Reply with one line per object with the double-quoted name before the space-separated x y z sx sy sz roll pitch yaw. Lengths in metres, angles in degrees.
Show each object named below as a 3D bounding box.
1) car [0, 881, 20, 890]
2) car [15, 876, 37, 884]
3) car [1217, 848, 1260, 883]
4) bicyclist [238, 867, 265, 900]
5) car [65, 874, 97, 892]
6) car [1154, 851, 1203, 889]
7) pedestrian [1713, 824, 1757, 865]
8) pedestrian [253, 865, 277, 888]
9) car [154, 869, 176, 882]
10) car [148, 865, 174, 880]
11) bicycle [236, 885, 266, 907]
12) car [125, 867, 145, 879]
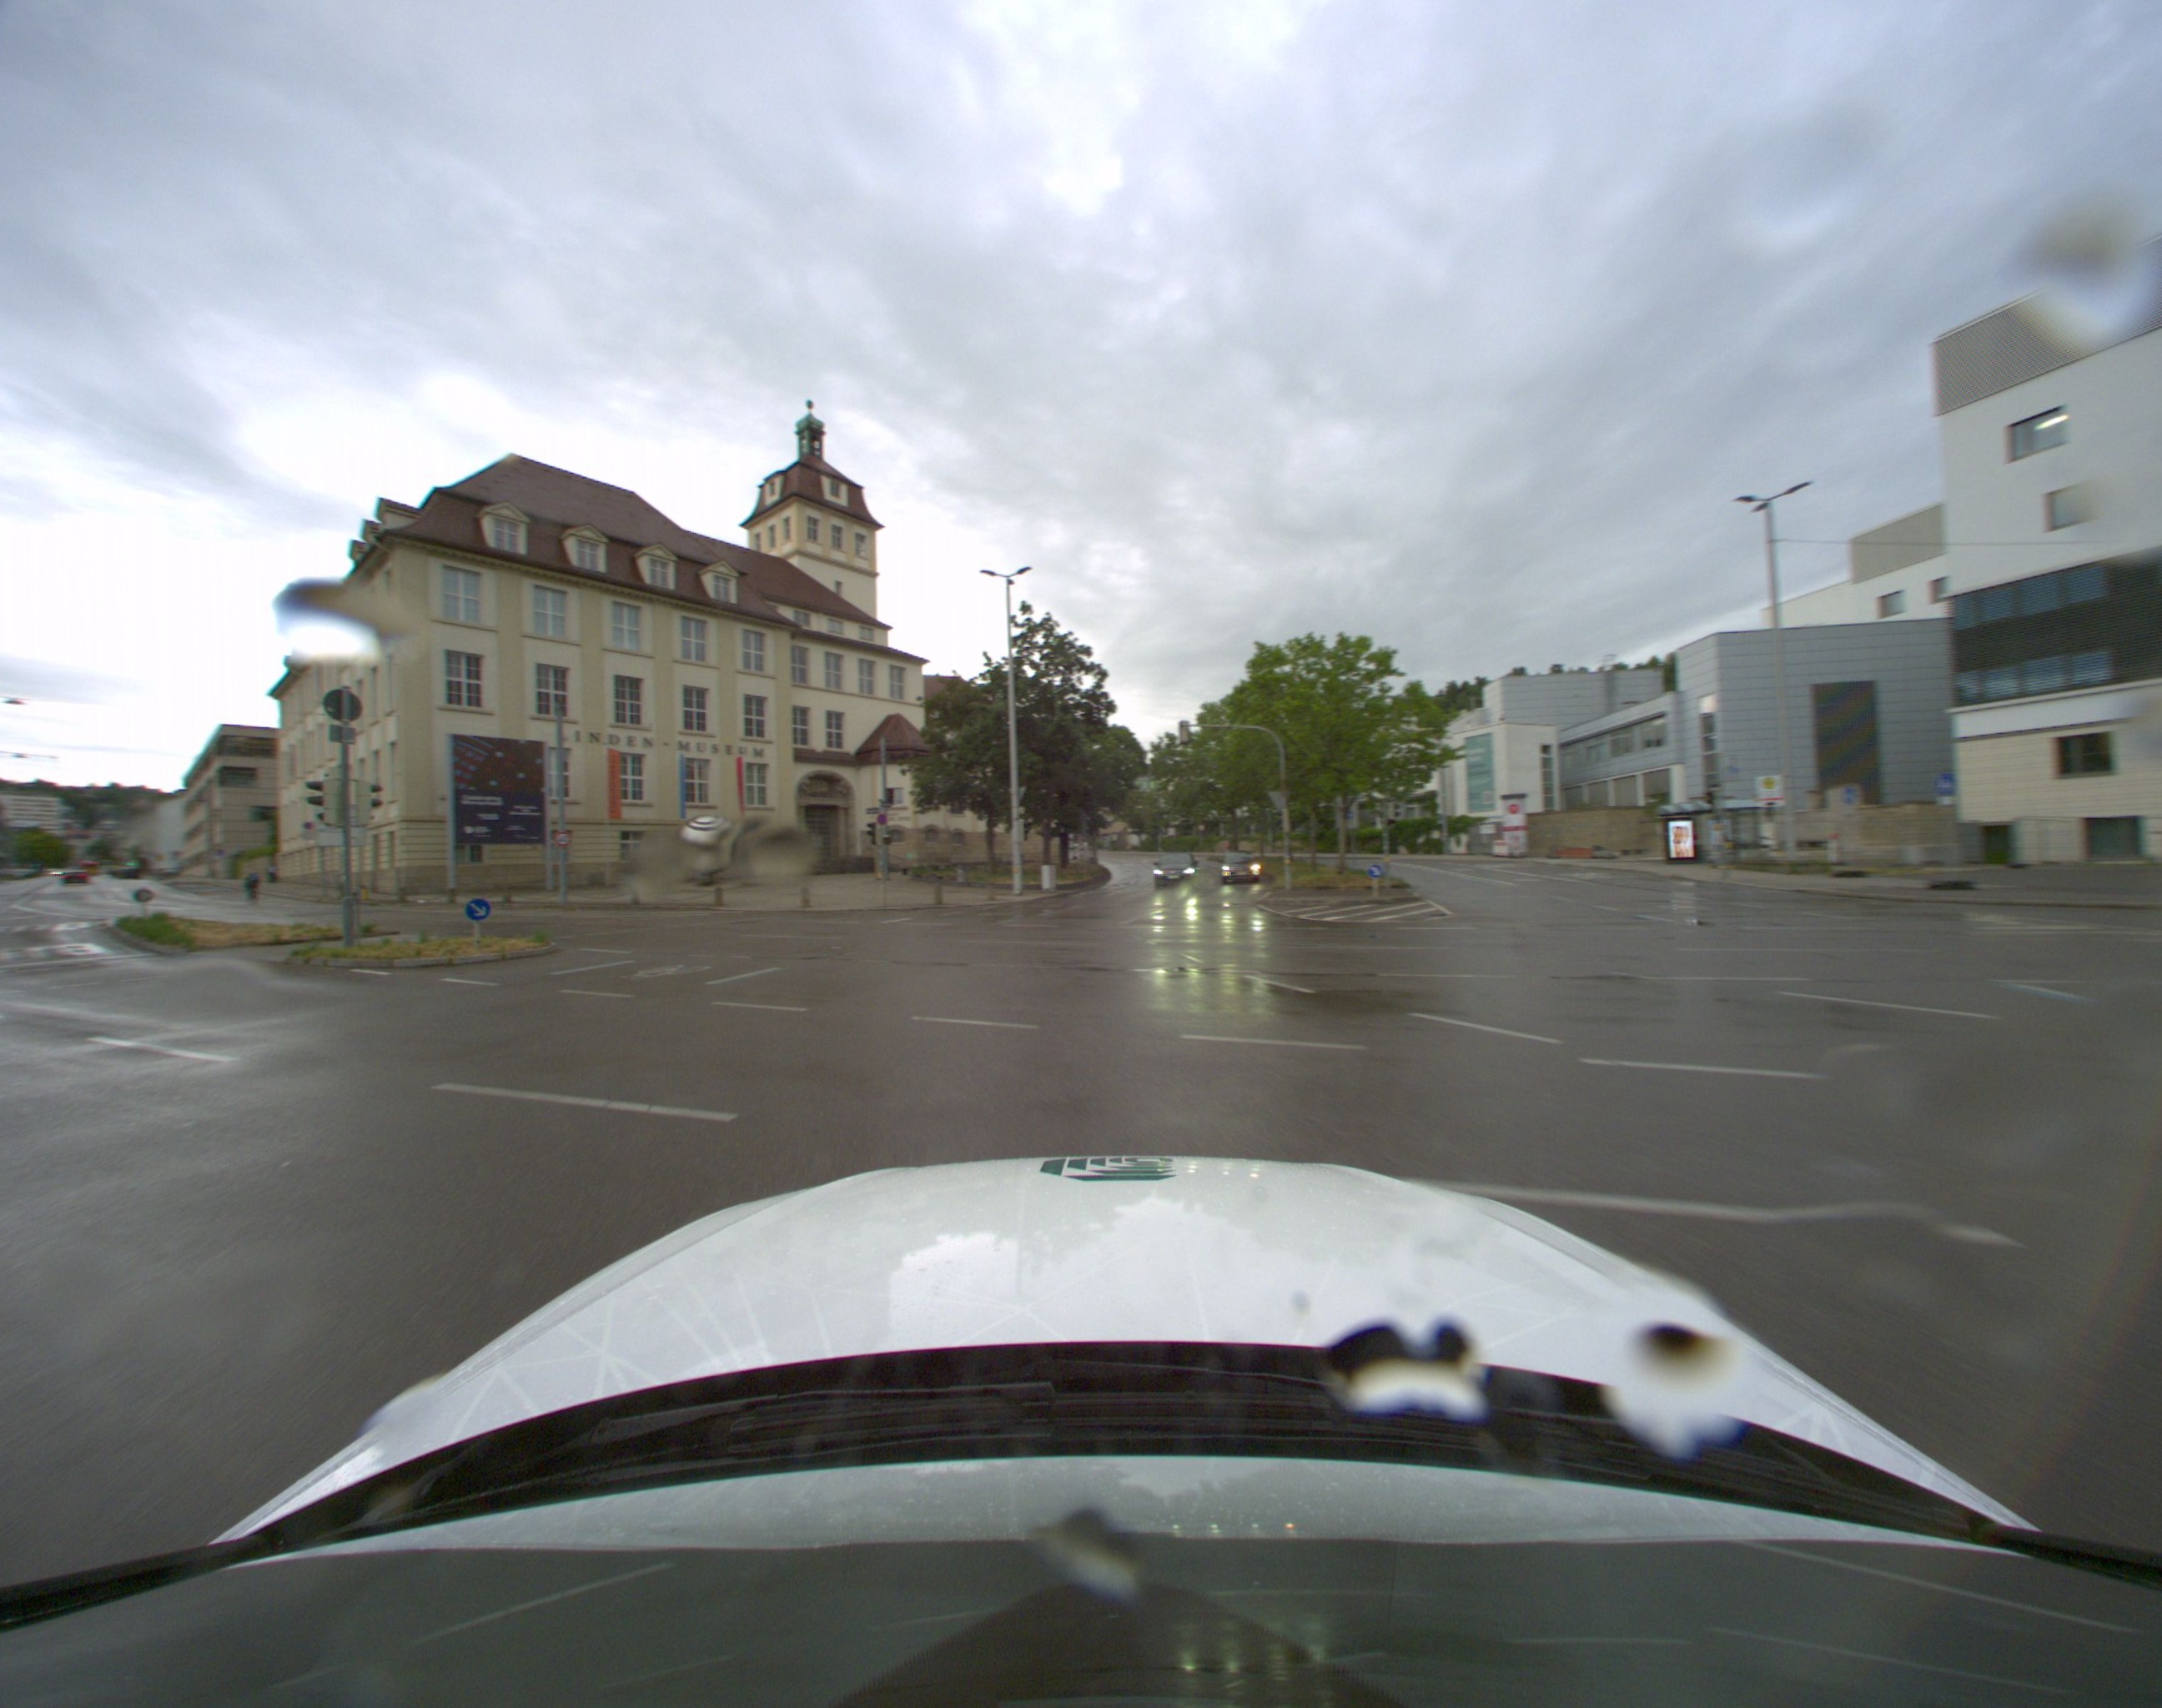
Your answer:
"car" -166.110 4.802 126.076 3.373 1.235 1.856 1 0 43
"car" -178.142 4.324 137.519 3.373 1.235 1.856 1 0 43
"car" 7.838 0.530 40.800 1.779 1.585 4.008 -2 0 7
"bicyclist" -42.561 1.502 41.780 1.114 1.632 0.706 -1 -1 33
"car" -100.322 2.927 81.696 3.599 1.625 1.910 1 0 41
"car" 4.609 0.701 38.027 1.856 1.564 4.290 -3 1 11
"pedestrian" 27.663 -0.383 34.478 1.245 1.719 1.022 -1 -1 27
"pedestrian" -67.534 1.861 67.381 1.575 1.788 1.251 -1 2 43
"car" -119.917 2.804 106.621 3.949 1.560 1.856 1 0 41
"car" -105.725 2.103 93.608 3.950 1.560 1.856 1 0 43
"bicycle" -42.518 2.153 41.711 1.798 1.056 0.652 -2 -1 31
"car" -136.964 2.711 117.902 3.949 1.560 1.856 1 0 41
